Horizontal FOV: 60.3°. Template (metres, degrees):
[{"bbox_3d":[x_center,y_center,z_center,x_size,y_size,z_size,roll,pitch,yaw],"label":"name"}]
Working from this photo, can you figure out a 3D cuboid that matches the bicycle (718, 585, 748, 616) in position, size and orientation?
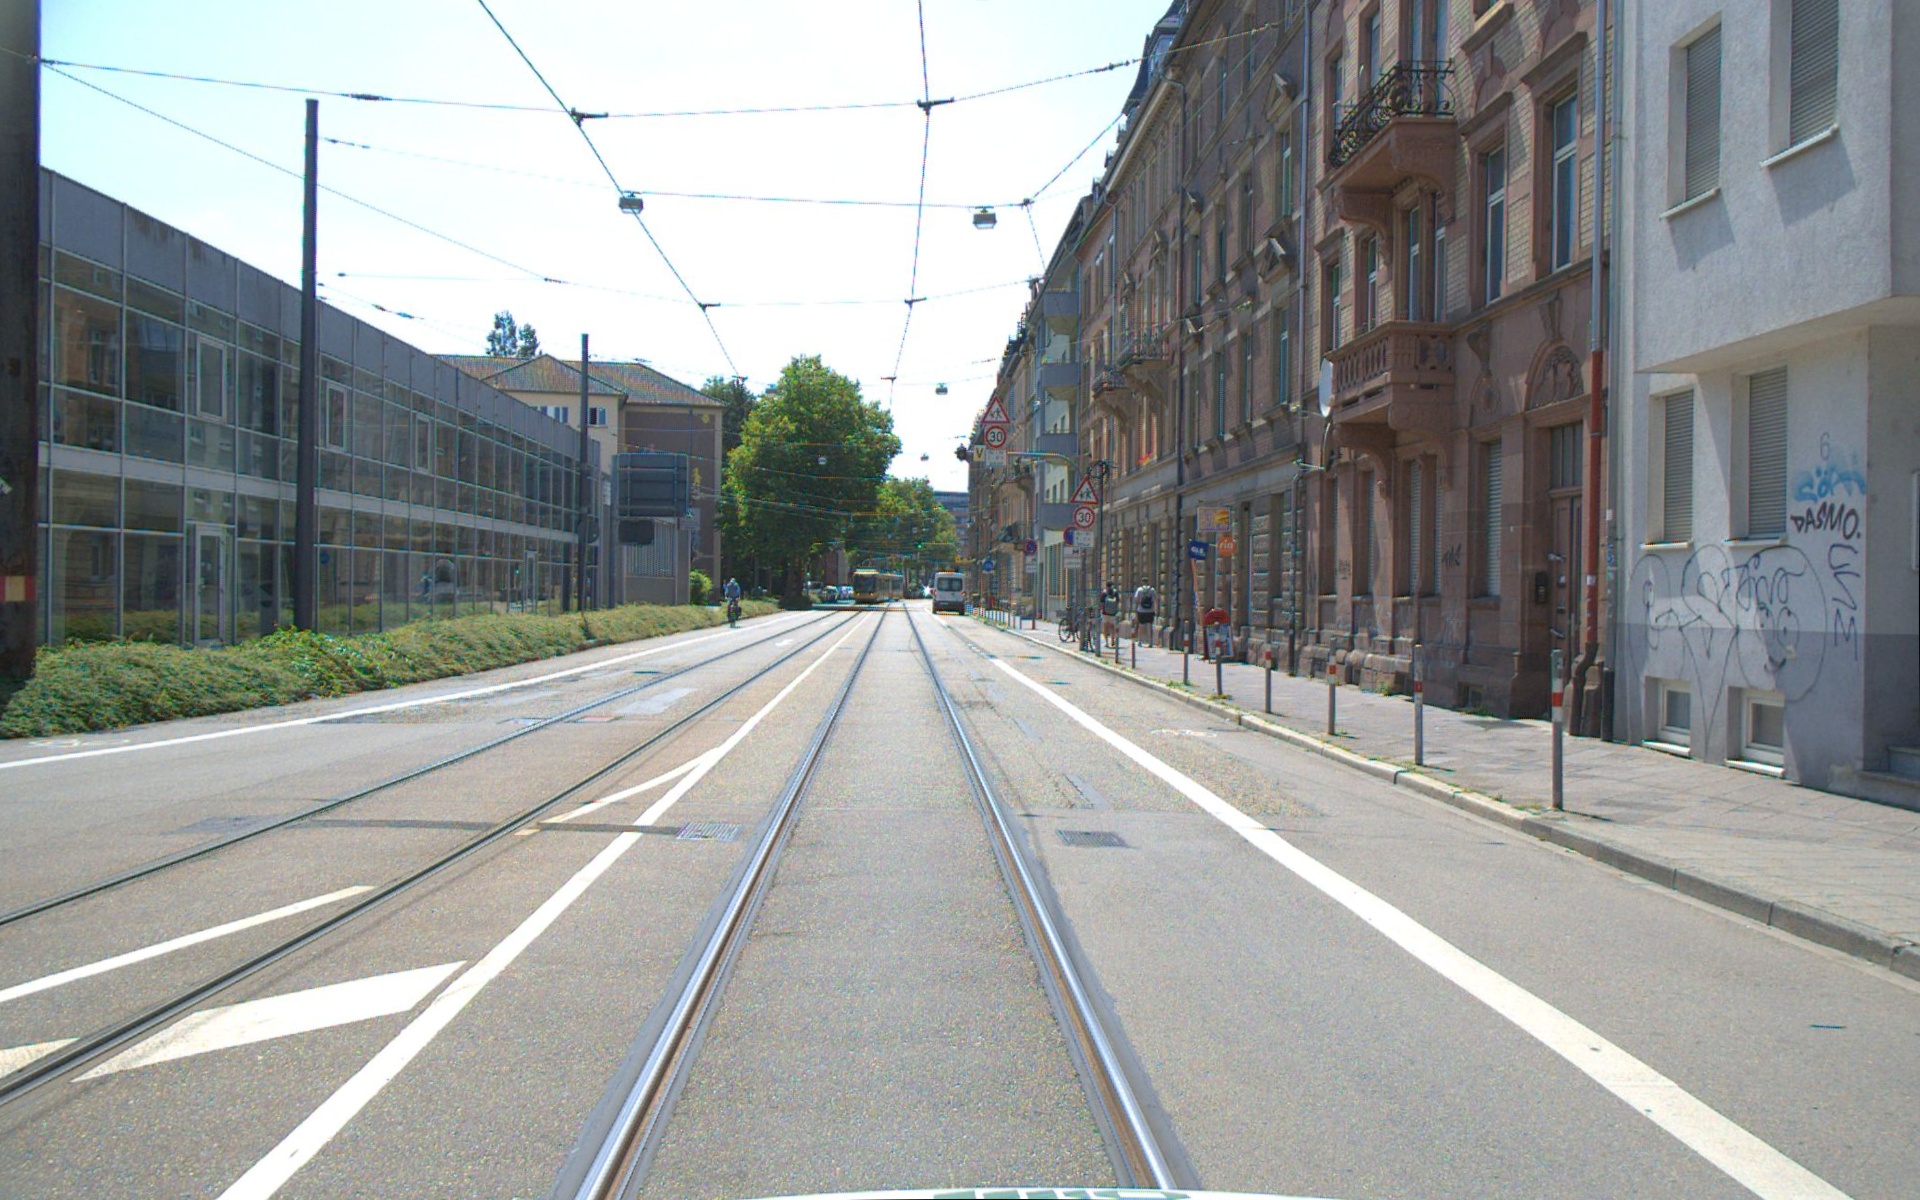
[{"bbox_3d":[-8.718,0.028,63.664,0.683,1.164,2.496,0,0,3],"label":"bicycle"}]

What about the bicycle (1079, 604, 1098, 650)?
[{"bbox_3d":[3.276,0.664,42.196,0.438,1.116,2.424,0,0,3],"label":"bicycle"}]

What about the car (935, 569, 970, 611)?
[{"bbox_3d":[-0.502,-0.622,103.948,2.025,2.544,5.453,2,0,-1],"label":"car"}]

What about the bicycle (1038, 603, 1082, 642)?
[{"bbox_3d":[3.033,0.671,49.870,0.489,1.150,2.241,0,0,26],"label":"bicycle"}]

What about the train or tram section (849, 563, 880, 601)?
[{"bbox_3d":[-9.564,-1.769,167.463,2.901,3.643,13.416,1,0,-3],"label":"train or tram section"}]

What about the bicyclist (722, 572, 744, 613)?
[{"bbox_3d":[-8.739,-0.283,63.654,0.683,1.575,0.980,0,0,2],"label":"bicyclist"}]

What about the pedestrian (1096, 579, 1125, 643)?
[{"bbox_3d":[4.097,0.293,45.082,0.705,1.750,0.643,0,0,-1],"label":"pedestrian"}]

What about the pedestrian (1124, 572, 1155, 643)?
[{"bbox_3d":[4.895,0.200,45.088,0.688,1.881,0.643,-3,0,-1],"label":"pedestrian"}]

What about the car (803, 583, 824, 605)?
[{"bbox_3d":[-13.581,-0.546,153.497,1.765,1.956,3.997,1,0,-4],"label":"car"}]
